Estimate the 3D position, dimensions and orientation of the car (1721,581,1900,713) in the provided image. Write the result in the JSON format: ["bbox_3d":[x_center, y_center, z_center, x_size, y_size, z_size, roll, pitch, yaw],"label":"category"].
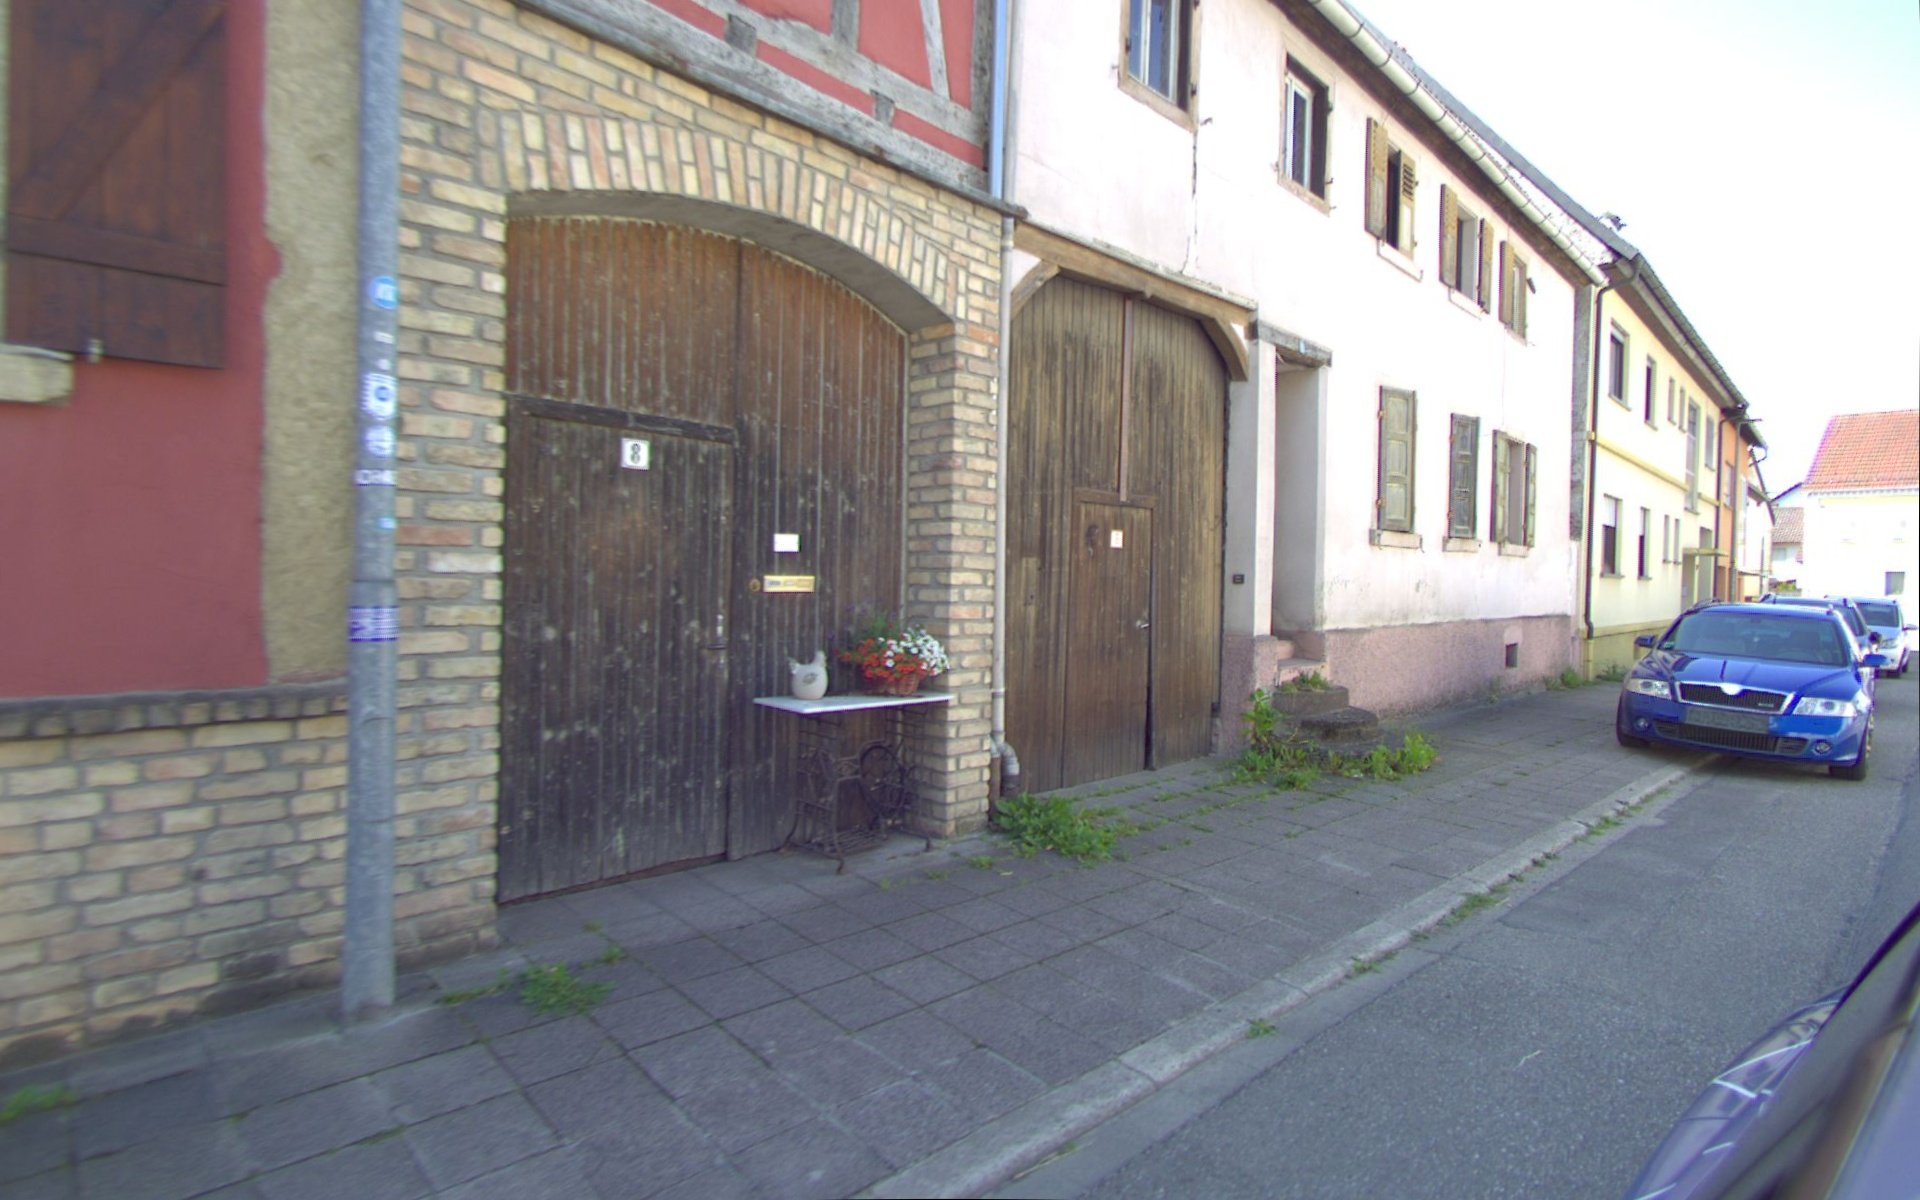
[{"bbox_3d":[12.490,0.573,14.771,1.700,1.603,3.964,4,3,44],"label":"car"}]

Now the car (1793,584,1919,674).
[{"bbox_3d":[19.735,0.555,22.139,4.179,1.749,1.899,0,1,-45],"label":"car"}]

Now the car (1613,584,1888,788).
[{"bbox_3d":[7.872,0.635,9.907,1.699,1.487,4.341,4,3,43],"label":"car"}]

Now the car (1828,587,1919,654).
[{"bbox_3d":[26.697,0.532,29.358,5.095,1.723,1.846,0,2,-44],"label":"car"}]

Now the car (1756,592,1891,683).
[{"bbox_3d":[16.016,0.617,18.722,3.660,1.455,1.552,0,3,-45],"label":"car"}]
